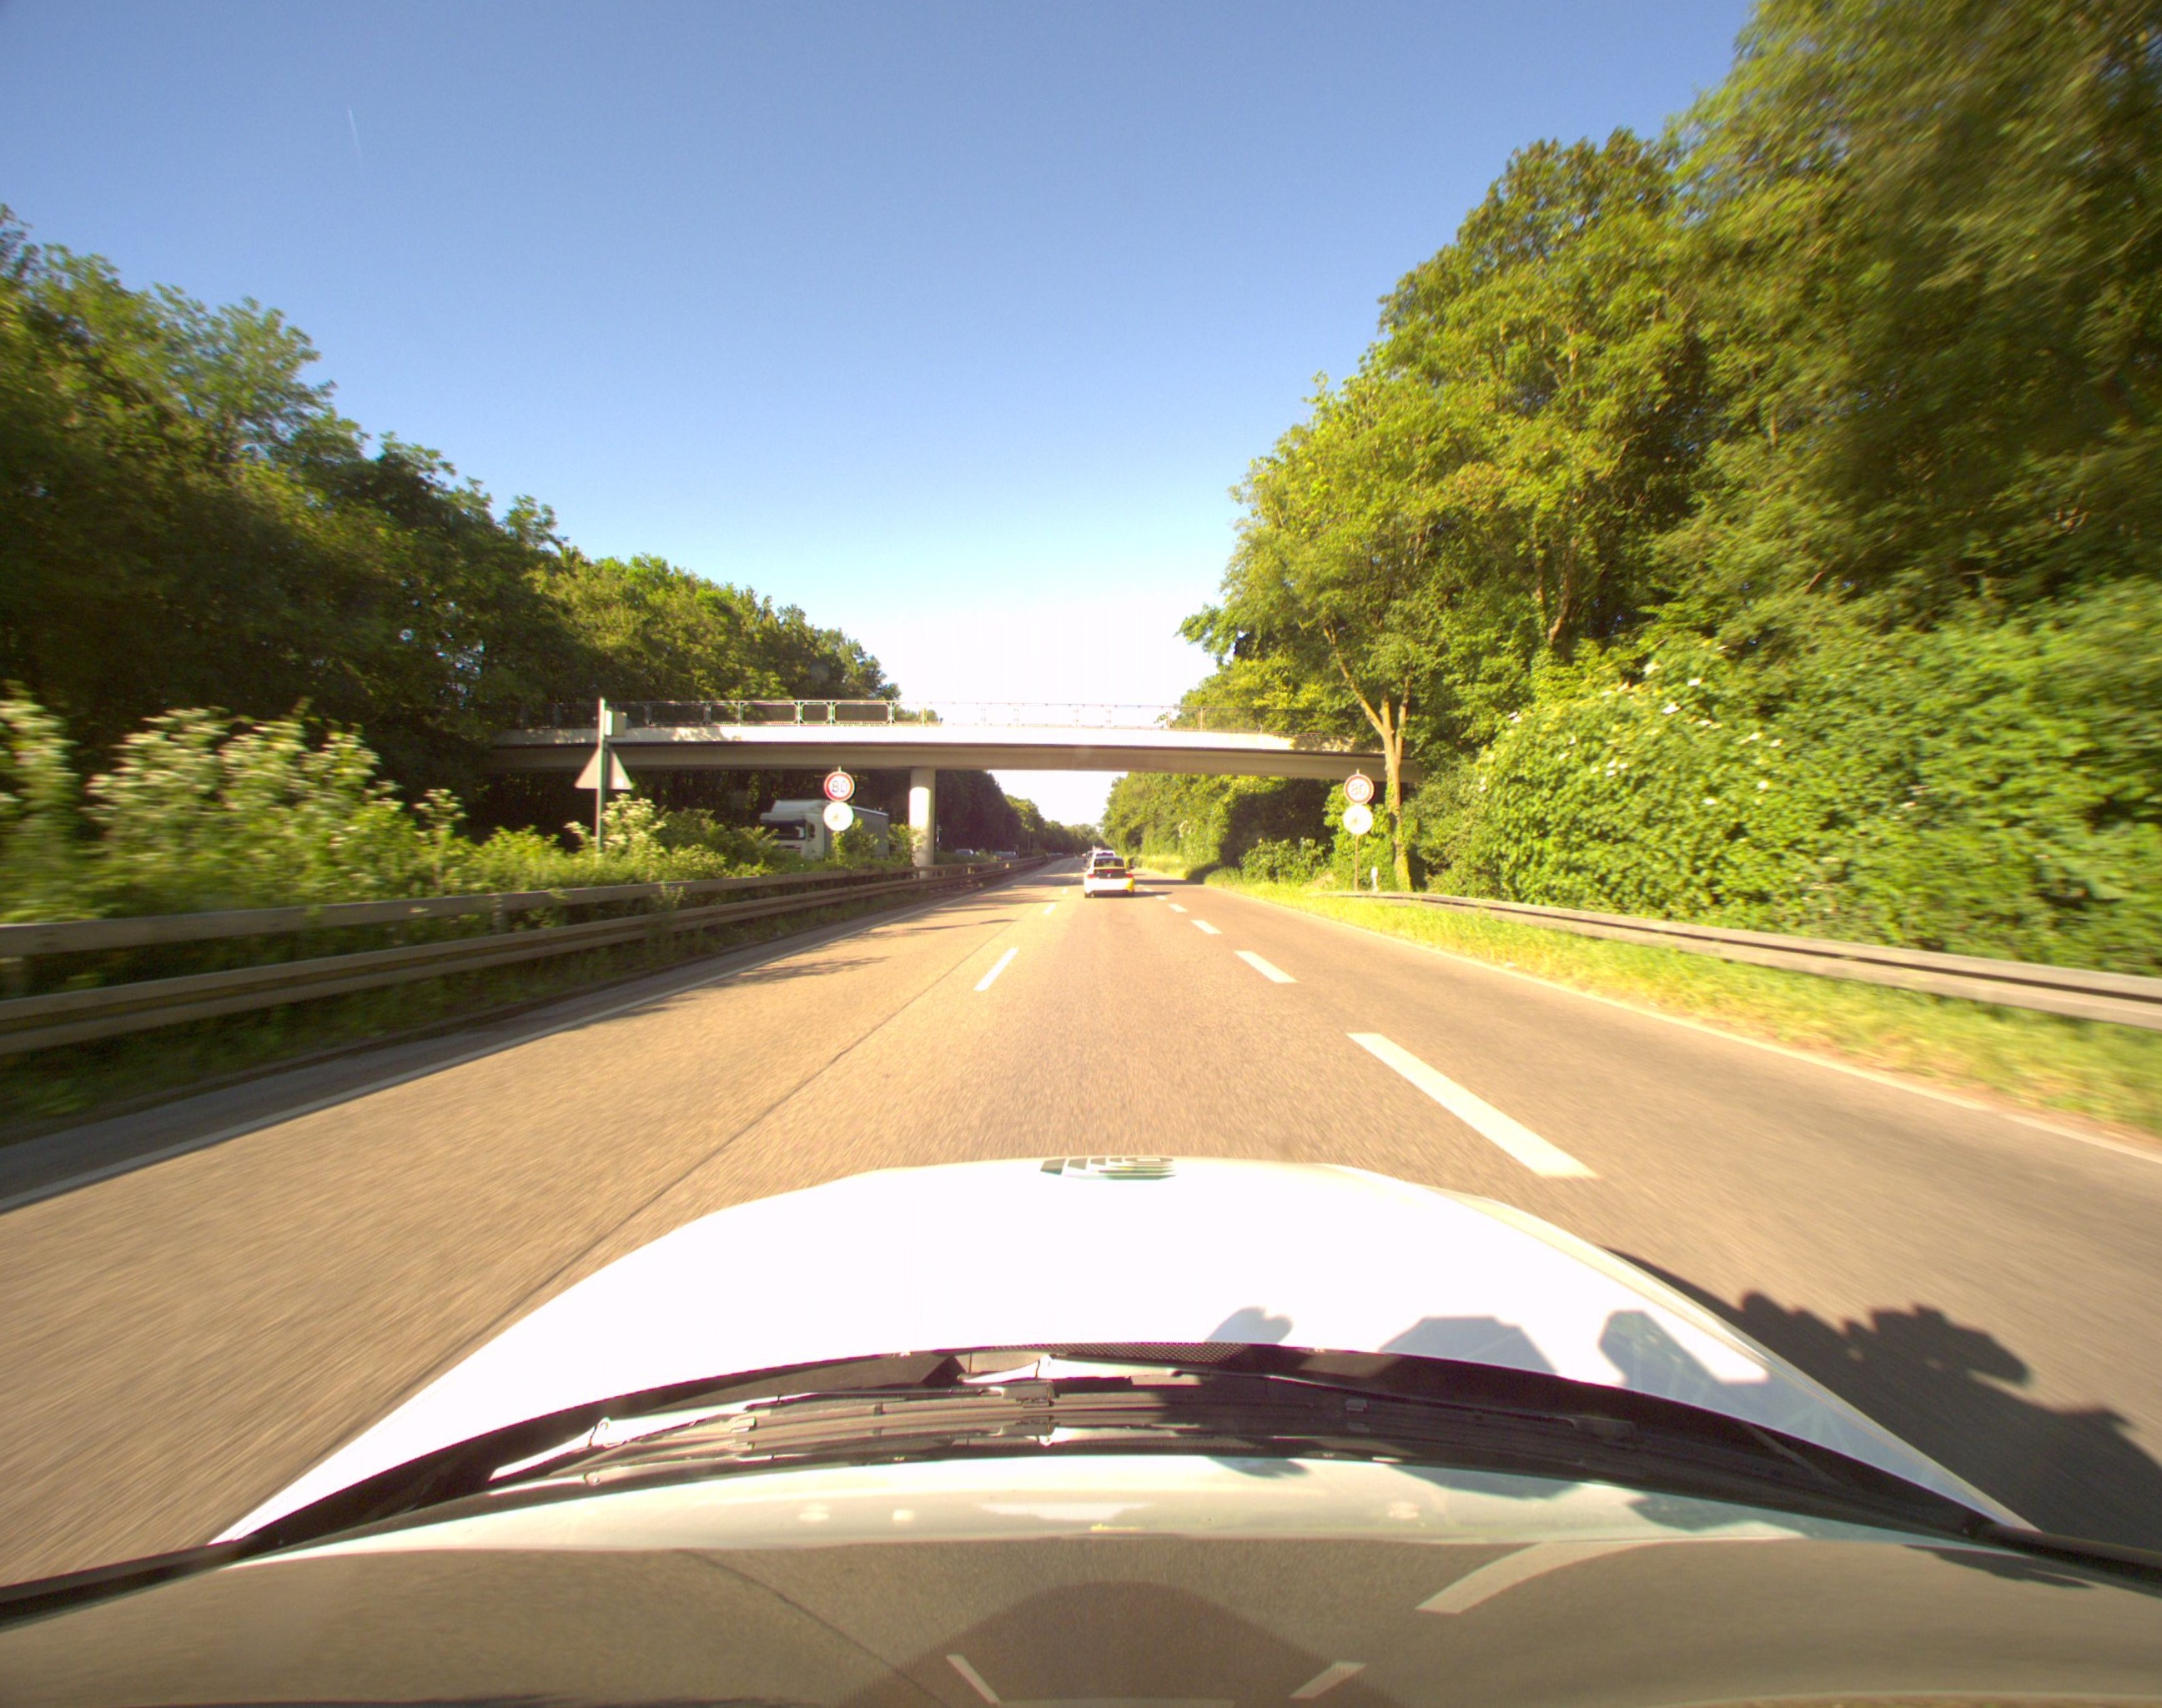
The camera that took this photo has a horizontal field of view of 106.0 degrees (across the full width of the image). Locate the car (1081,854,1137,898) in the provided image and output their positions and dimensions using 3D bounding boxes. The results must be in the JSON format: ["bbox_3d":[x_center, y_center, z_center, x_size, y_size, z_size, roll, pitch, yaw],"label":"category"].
[{"bbox_3d":[1.079,0.772,29.841,1.930,1.508,3.426,0,0,4],"label":"car"}]

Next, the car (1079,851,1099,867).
[{"bbox_3d":[0.778,0.518,81.506,1.932,1.545,3.423,0,0,1],"label":"car"}]

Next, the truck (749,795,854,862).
[{"bbox_3d":[-14.385,-1.203,42.564,2.919,3.168,7.085,0,0,1],"label":"truck"}]

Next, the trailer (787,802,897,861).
[{"bbox_3d":[-14.208,-1.149,49.818,2.919,3.168,11.919,0,0,1],"label":"trailer"}]

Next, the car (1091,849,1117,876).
[{"bbox_3d":[1.639,0.604,57.564,1.735,1.830,3.423,-1,0,1],"label":"car"}]
